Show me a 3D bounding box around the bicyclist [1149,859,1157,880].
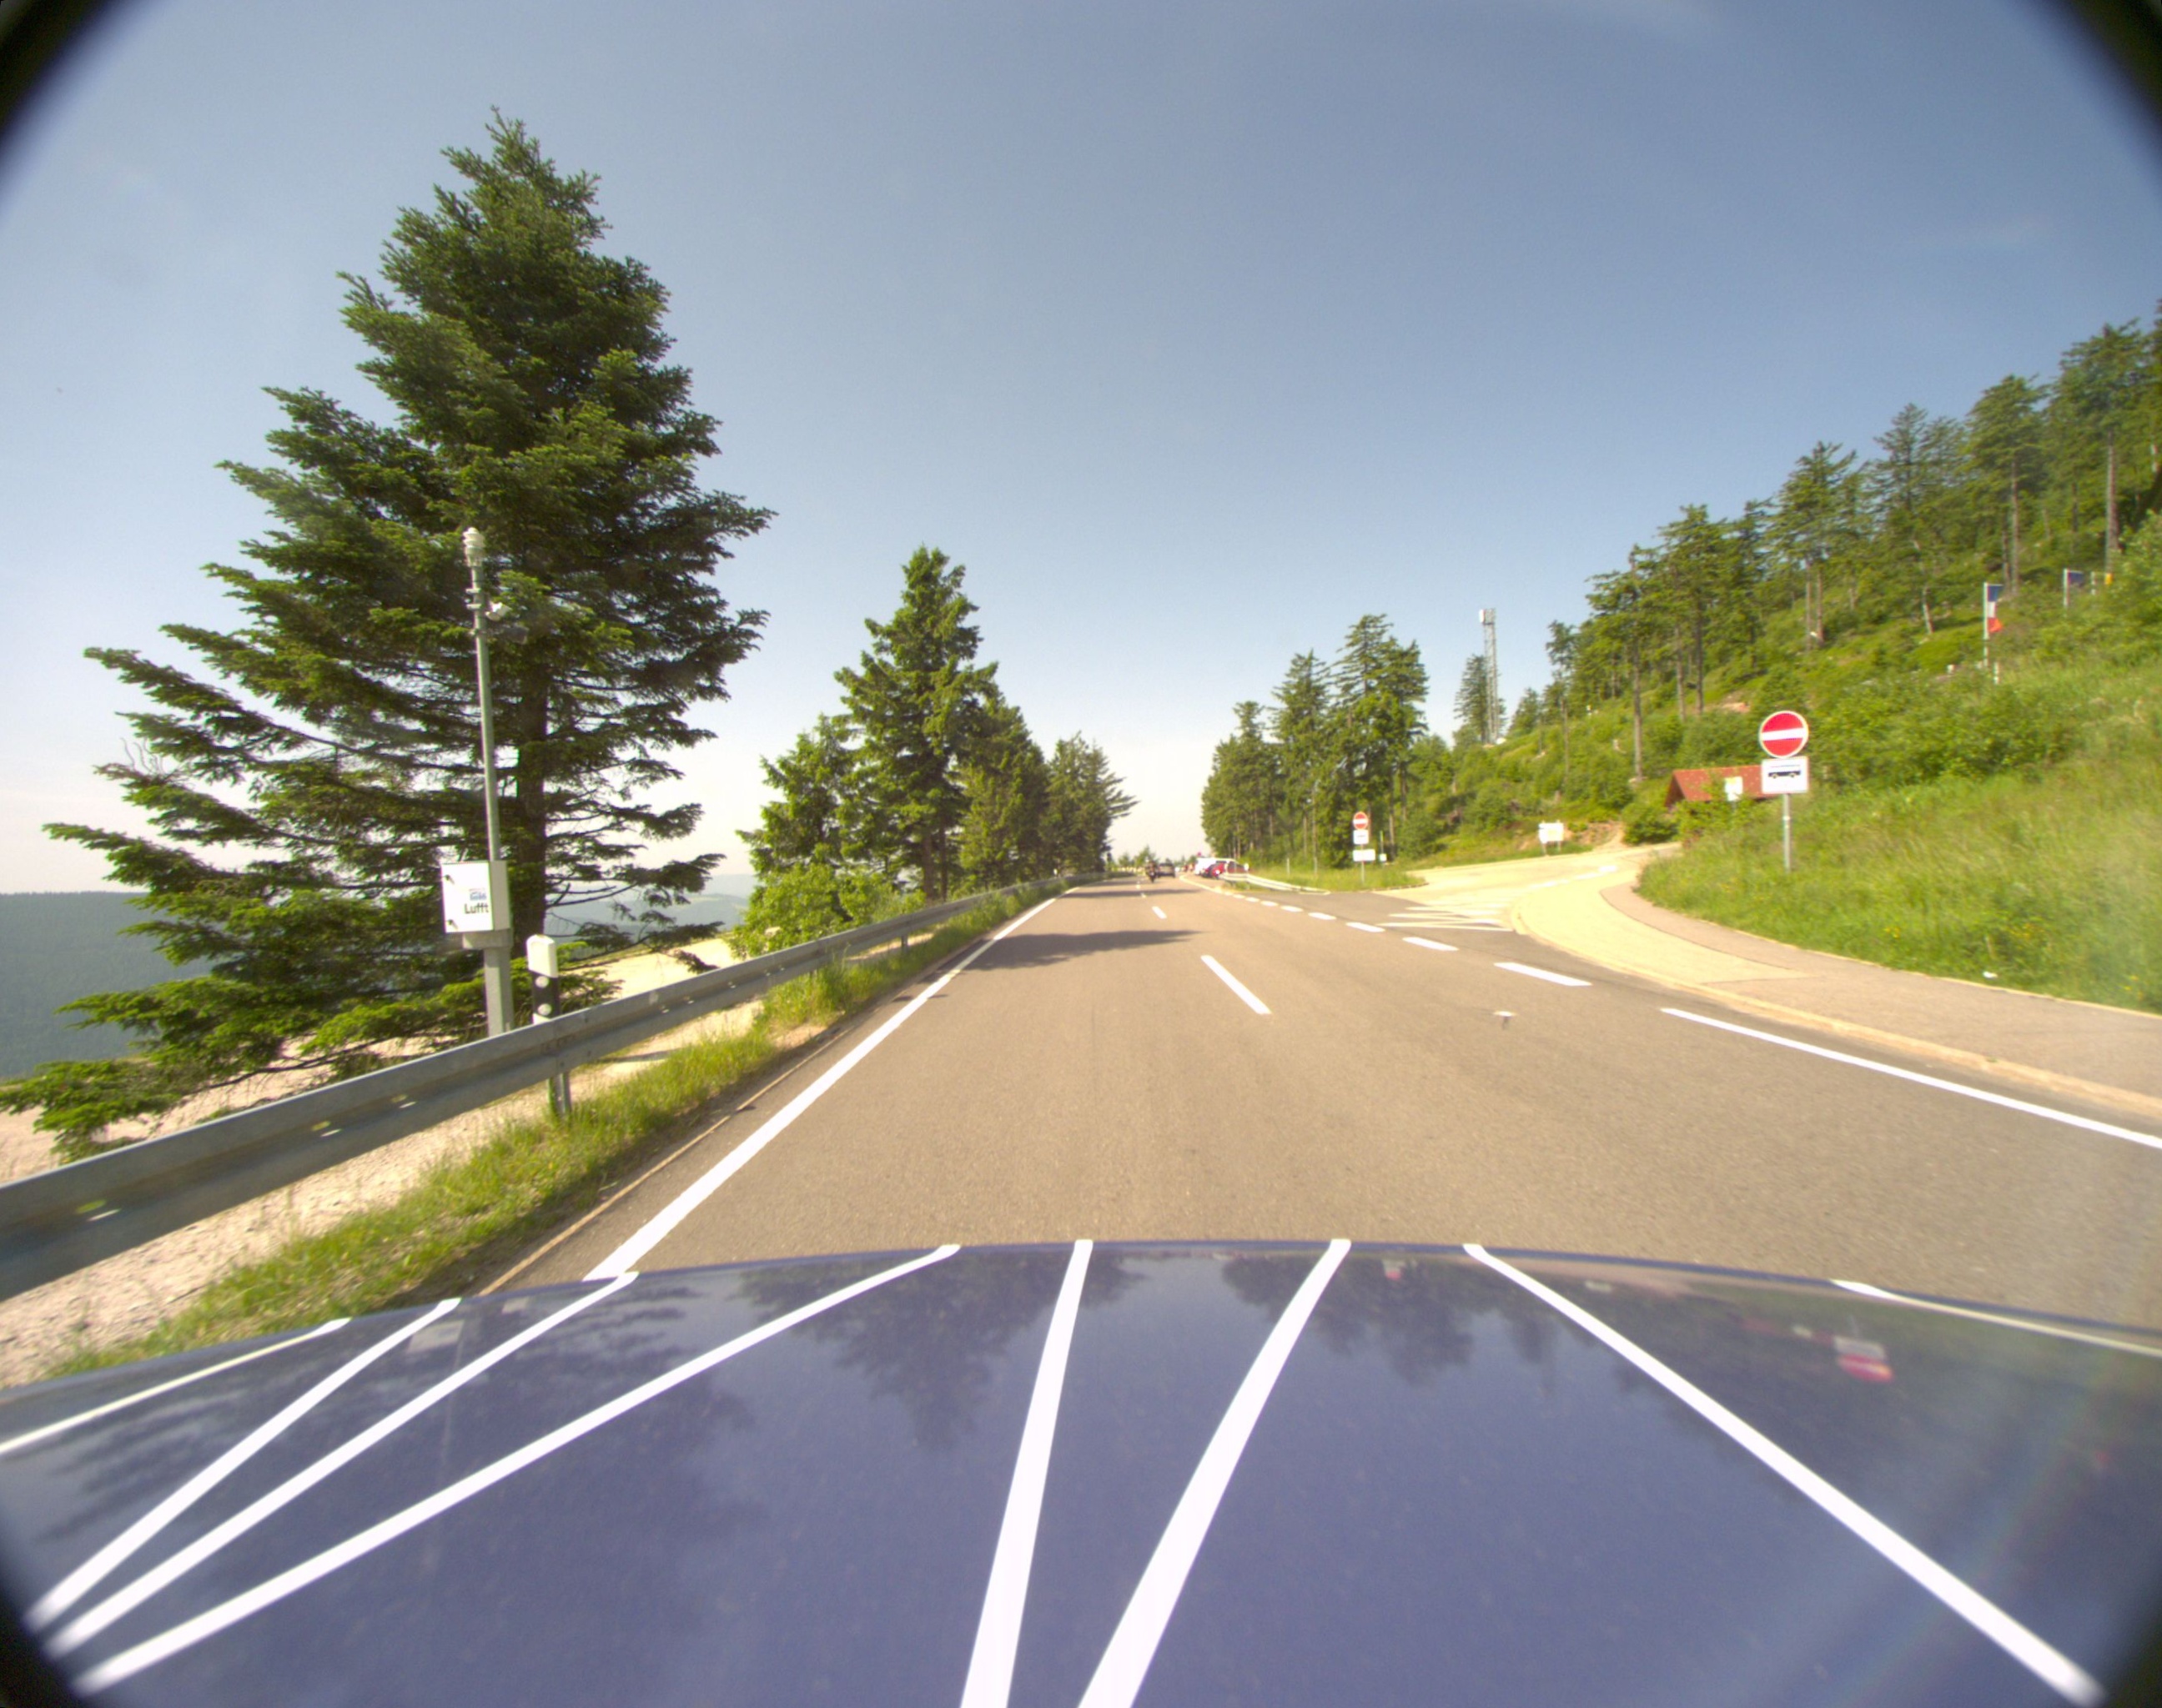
[{"bbox_3d":[5.279,1.141,55.749,0.546,1.519,0.679,-1,1,5],"label":"bicyclist"}]

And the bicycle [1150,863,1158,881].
[{"bbox_3d":[5.313,1.299,55.672,0.546,1.220,1.859,-1,0,5],"label":"bicycle"}]

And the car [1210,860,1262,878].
[{"bbox_3d":[13.077,1.239,64.339,4.158,1.501,1.933,0,0,5],"label":"car"}]

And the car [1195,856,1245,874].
[{"bbox_3d":[14.276,1.118,78.246,4.728,1.871,1.932,0,0,1],"label":"car"}]

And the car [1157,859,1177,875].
[{"bbox_3d":[8.805,1.325,77.819,1.998,1.586,4.002,-1,0,6],"label":"car"}]

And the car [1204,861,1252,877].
[{"bbox_3d":[12.913,1.288,66.997,3.928,1.365,1.932,0,0,1],"label":"car"}]
